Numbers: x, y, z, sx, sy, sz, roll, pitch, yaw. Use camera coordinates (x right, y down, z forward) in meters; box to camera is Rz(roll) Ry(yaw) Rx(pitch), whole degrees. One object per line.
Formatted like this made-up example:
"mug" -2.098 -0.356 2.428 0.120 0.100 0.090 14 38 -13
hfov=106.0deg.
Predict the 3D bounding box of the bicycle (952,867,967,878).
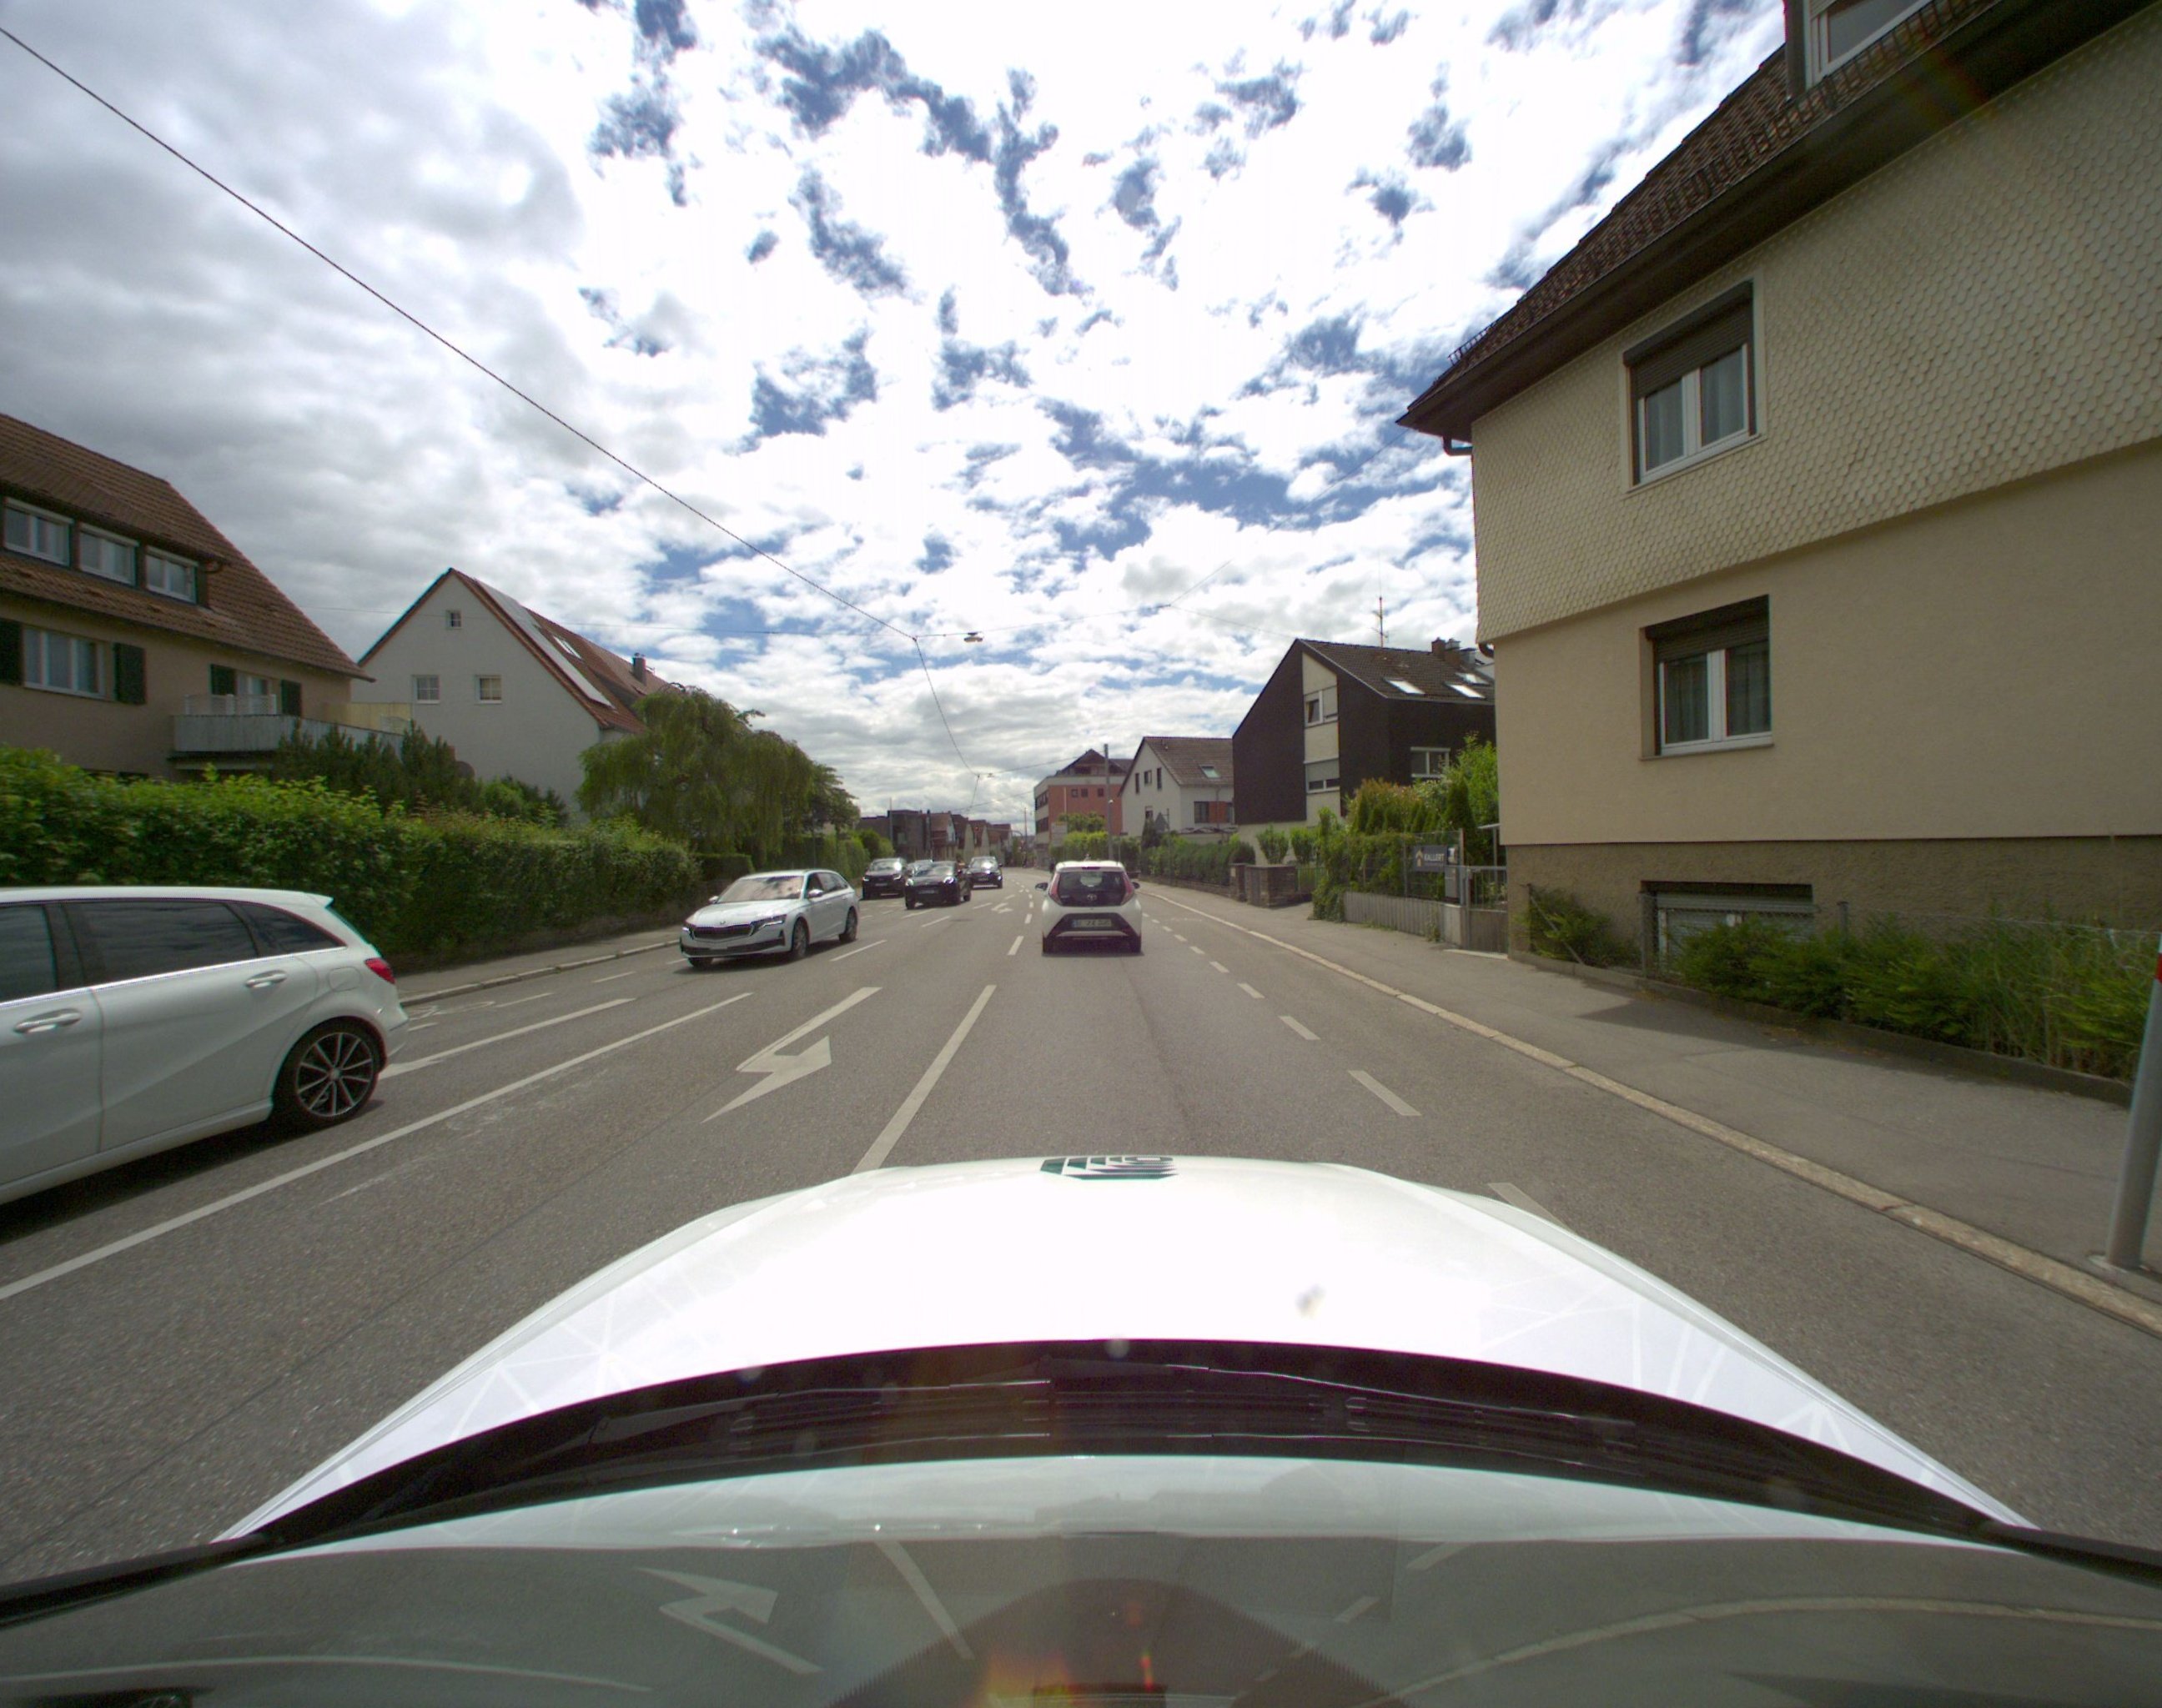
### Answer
"bicycle" -12.112 1.817 80.827 1.116 0.937 3.770 -4 0 -13

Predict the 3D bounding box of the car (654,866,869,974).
"car" -5.334 1.018 14.344 1.768 1.430 4.524 -4 0 2

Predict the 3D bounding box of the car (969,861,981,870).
"car" -19.231 2.107 147.742 1.991 1.684 3.991 0 0 -6

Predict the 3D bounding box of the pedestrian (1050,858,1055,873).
"pedestrian" -2.700 1.066 75.986 0.413 1.438 0.437 -1 0 -7

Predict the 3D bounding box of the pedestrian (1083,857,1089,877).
"pedestrian" 0.363 0.946 59.572 0.413 1.438 0.436 -1 0 -11

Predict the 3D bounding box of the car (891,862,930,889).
"car" -10.273 1.286 49.271 1.791 1.510 3.994 1 0 -4

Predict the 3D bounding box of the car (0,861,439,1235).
"car" -5.462 0.869 3.640 1.769 1.561 4.169 -3 0 1

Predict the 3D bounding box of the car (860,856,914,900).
"car" -8.935 1.081 37.845 1.772 1.846 4.001 -4 0 -5

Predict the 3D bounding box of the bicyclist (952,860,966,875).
"bicyclist" -12.095 1.322 80.653 1.116 1.336 1.625 -4 -1 -13

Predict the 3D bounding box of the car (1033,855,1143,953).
"car" -0.001 0.796 14.680 1.618 1.486 3.993 -1 -1 -5

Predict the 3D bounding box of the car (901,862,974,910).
"car" -4.912 1.047 28.396 1.769 1.430 4.008 -4 0 0

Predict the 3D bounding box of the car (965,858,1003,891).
"car" -5.071 1.049 42.817 1.772 1.552 4.001 -4 0 -5
